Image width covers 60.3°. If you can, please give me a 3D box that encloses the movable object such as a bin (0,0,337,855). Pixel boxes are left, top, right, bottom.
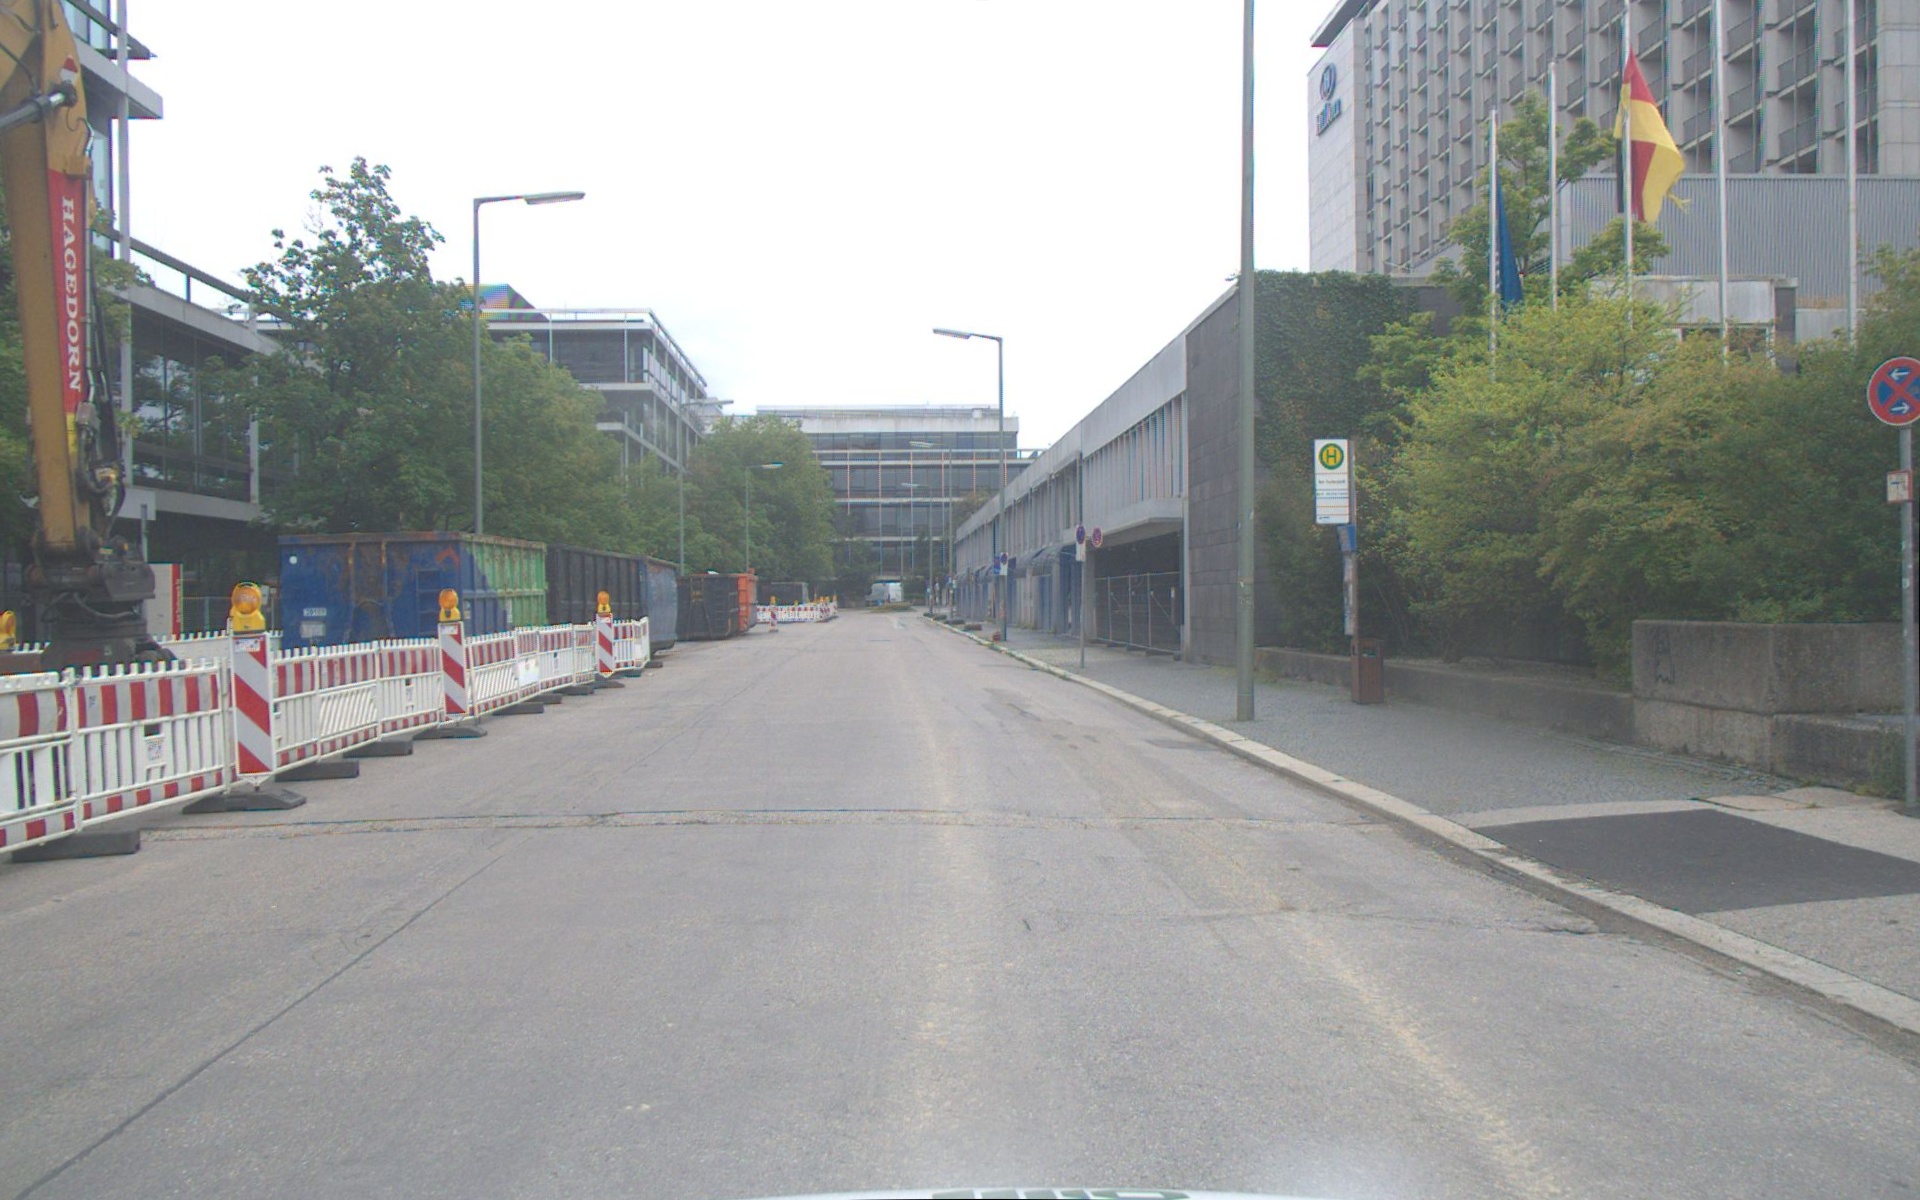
[{"bbox_3d":[-7.563,-1.705,11.071,2.846,6.679,11.776,-1,0,-3],"label":"movable object such as a bin"}]

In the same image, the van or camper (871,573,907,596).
[{"bbox_3d":[-7.932,-1.749,184.290,2.062,2.535,5.020,-1,1,-28],"label":"van or camper"}]
